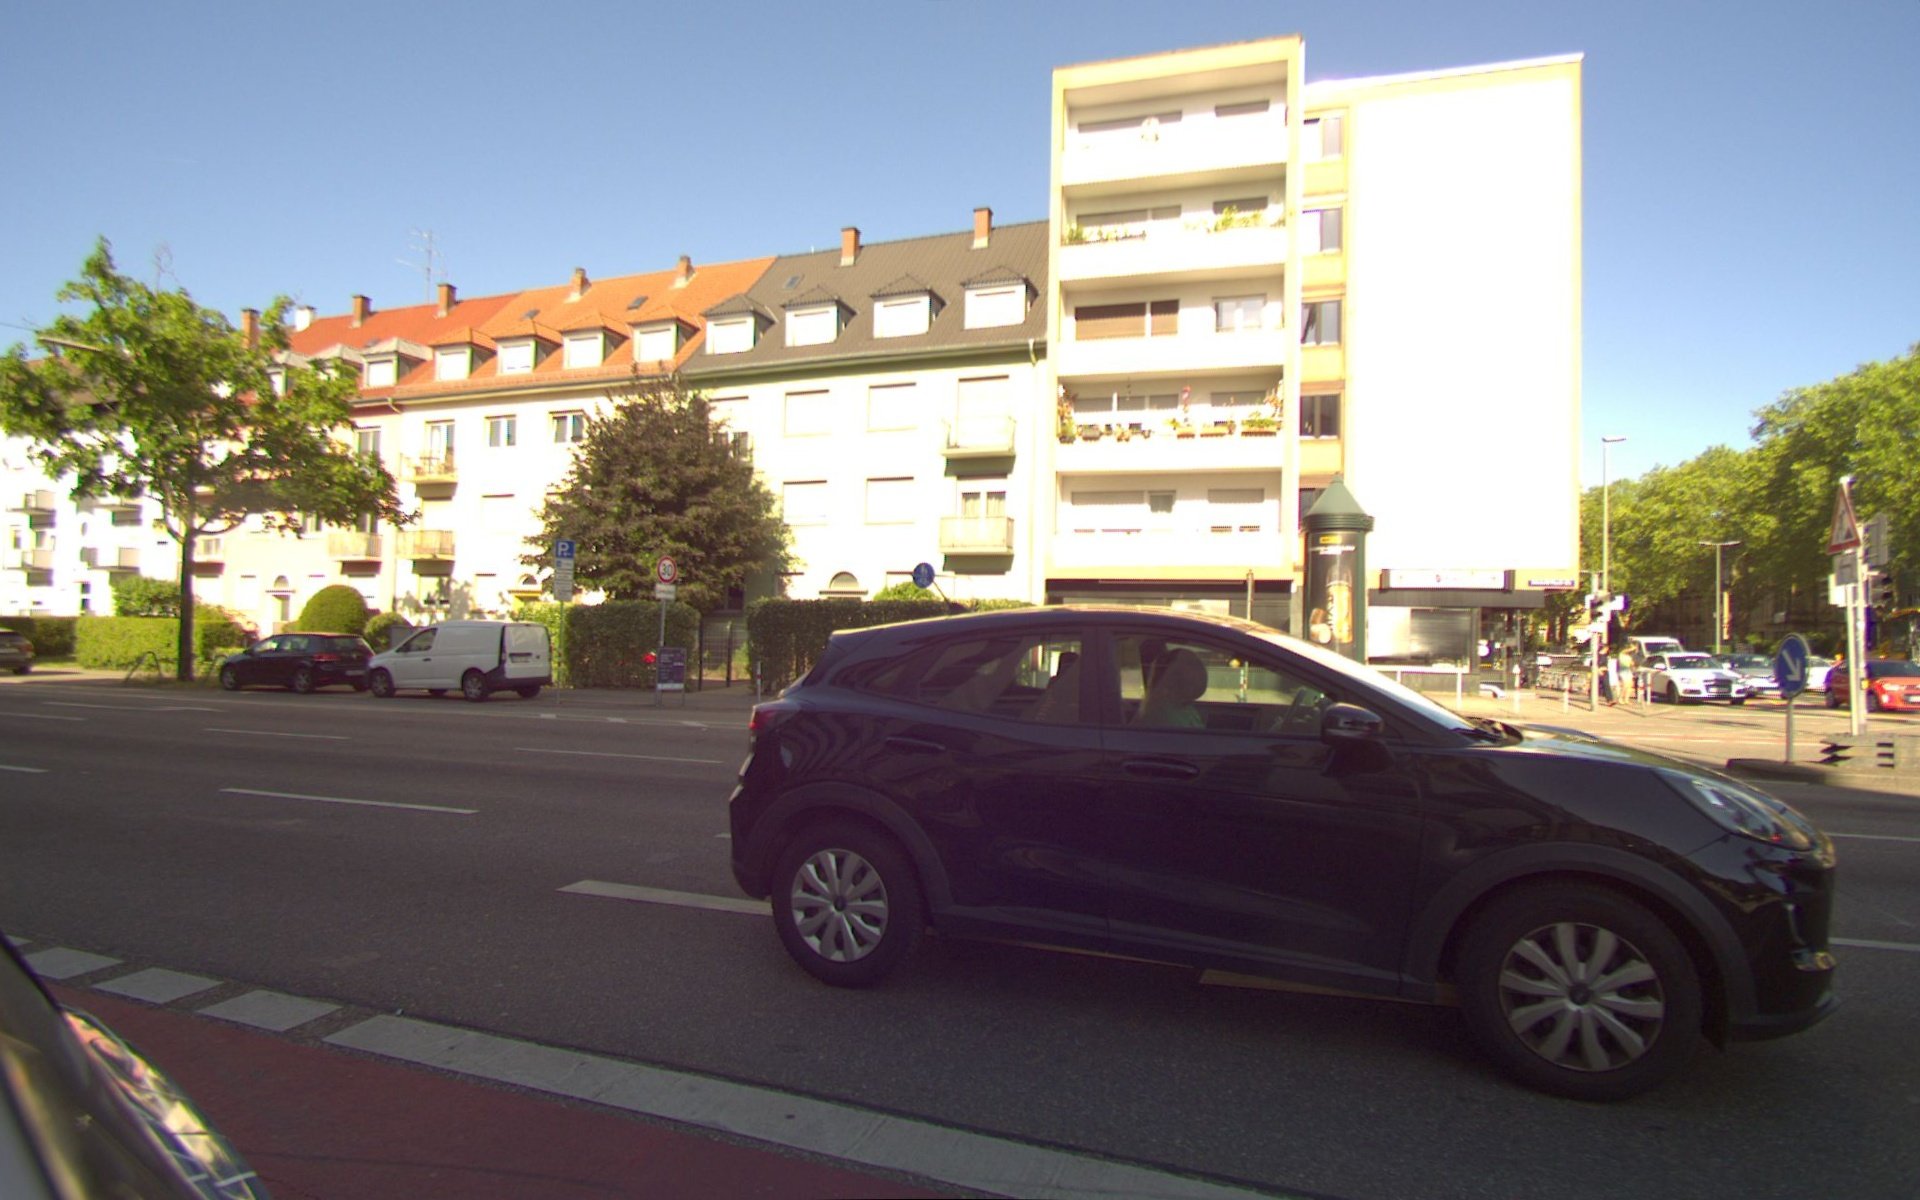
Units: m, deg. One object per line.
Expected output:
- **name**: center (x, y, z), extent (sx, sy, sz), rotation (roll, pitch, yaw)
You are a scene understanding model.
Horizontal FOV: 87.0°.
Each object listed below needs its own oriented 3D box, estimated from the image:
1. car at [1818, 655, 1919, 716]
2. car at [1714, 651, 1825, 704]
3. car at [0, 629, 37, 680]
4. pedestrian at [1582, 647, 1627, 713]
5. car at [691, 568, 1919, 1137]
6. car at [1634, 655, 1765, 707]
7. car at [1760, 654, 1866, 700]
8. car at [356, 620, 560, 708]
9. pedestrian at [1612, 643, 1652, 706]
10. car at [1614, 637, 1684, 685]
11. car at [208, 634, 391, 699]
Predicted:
- **car**: center (25.548, 2.291, 27.676), extent (1.871, 1.530, 3.972), rotation (-1, -3, 21)
- **car**: center (28.221, 2.659, 35.443), extent (1.871, 1.530, 3.972), rotation (-1, 0, 21)
- **car**: center (-29.878, 1.619, 30.256), extent (3.975, 1.468, 1.793), rotation (-1, 0, 21)
- **pedestrian**: center (17.350, 2.141, 27.254), extent (0.708, 1.692, 0.698), rotation (-1, 0, -12)
- **car**: center (1.090, 0.717, 4.166), extent (4.045, 1.503, 1.685), rotation (-1, -2, 21)
- **car**: center (23.371, 2.562, 32.206), extent (1.868, 1.531, 4.525), rotation (-1, -4, 16)
- **car**: center (34.876, 3.113, 41.527), extent (1.868, 1.530, 3.978), rotation (-1, 0, 17)
- **car**: center (-11.601, 1.437, 23.431), extent (4.130, 1.871, 1.796), rotation (-1, 0, 17)
- **pedestrian**: center (18.661, 2.056, 28.119), extent (0.713, 1.692, 0.693), rotation (-1, 0, 16)
- **car**: center (38.320, 3.365, 56.384), extent (1.868, 2.532, 4.427), rotation (0, -3, 16)
- **car**: center (-16.414, 1.607, 25.168), extent (4.021, 1.440, 1.793), rotation (-1, 0, 21)
